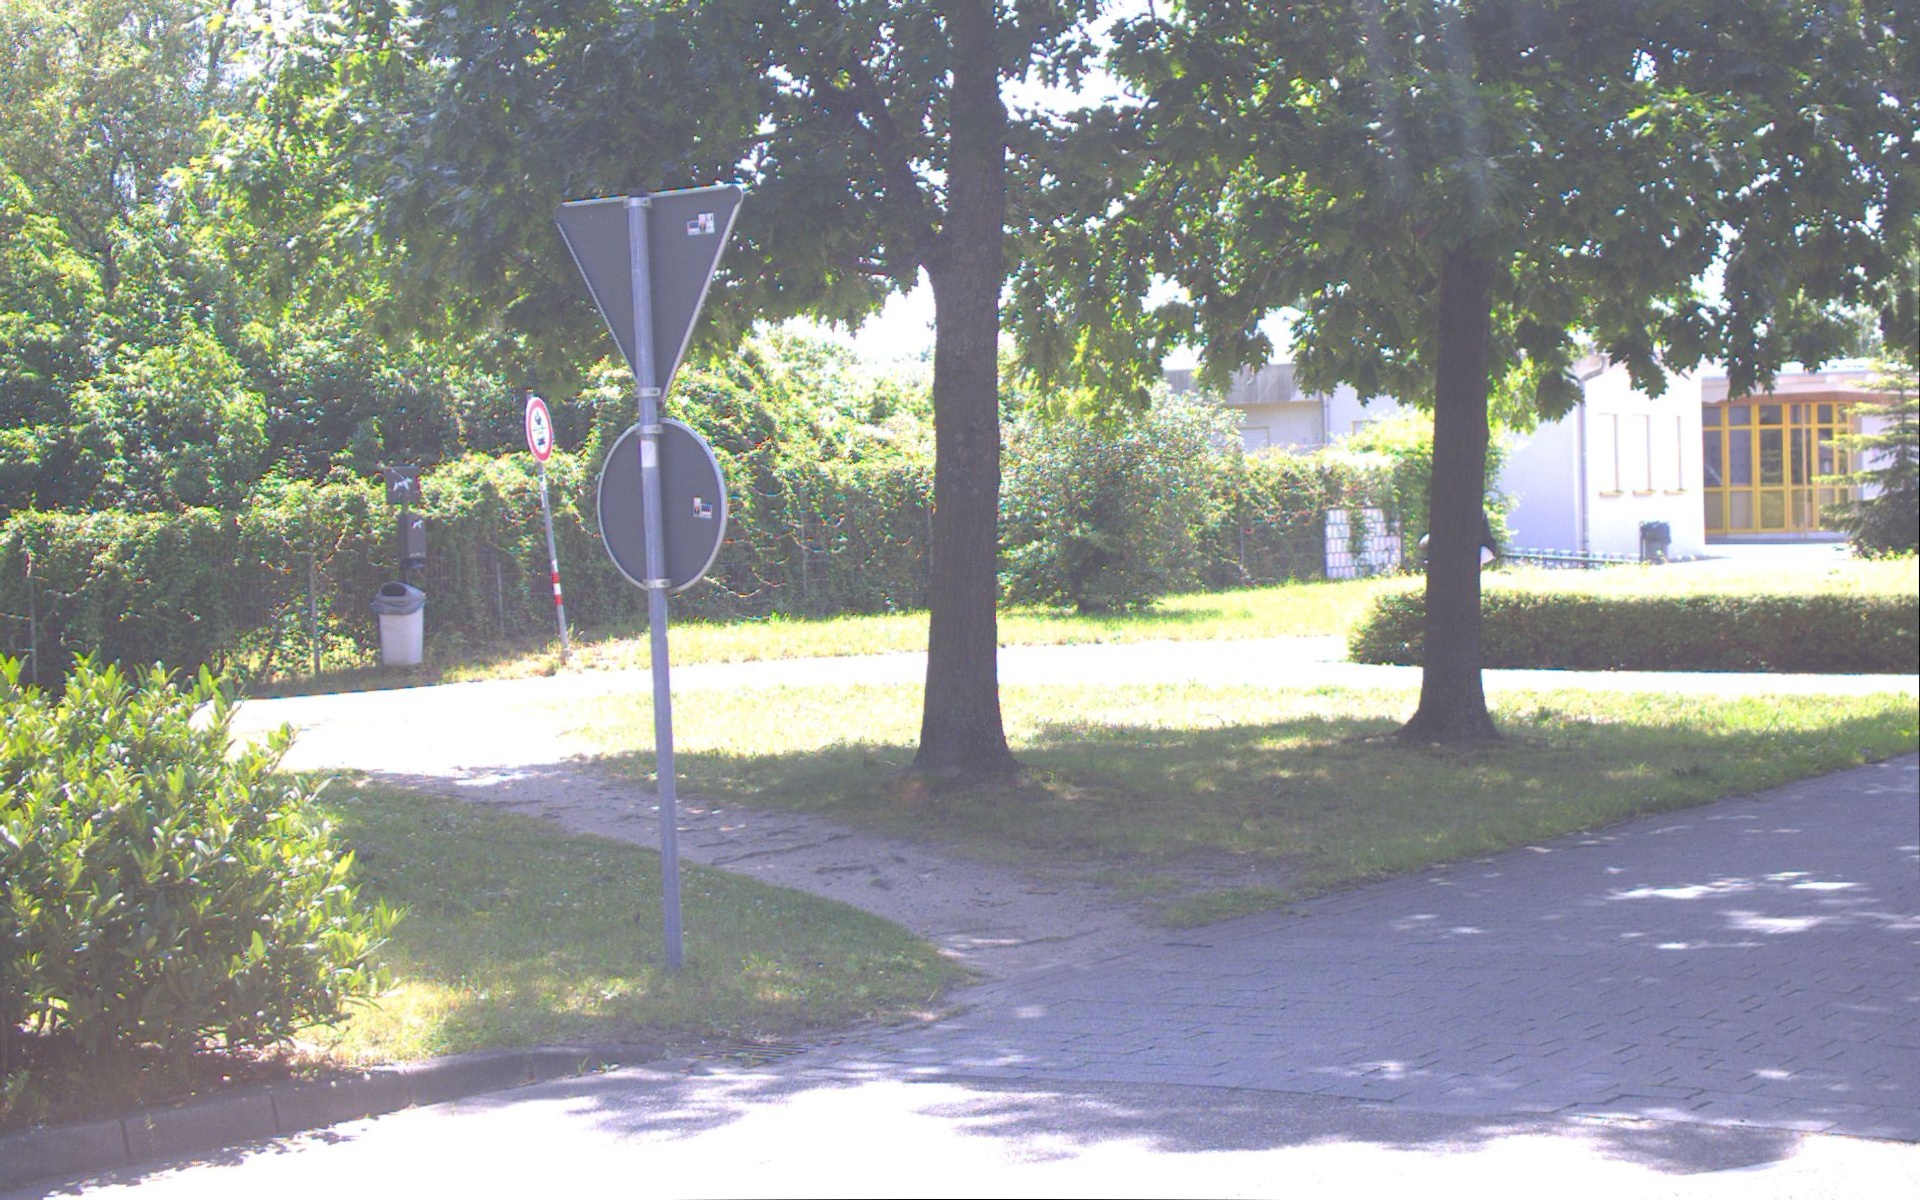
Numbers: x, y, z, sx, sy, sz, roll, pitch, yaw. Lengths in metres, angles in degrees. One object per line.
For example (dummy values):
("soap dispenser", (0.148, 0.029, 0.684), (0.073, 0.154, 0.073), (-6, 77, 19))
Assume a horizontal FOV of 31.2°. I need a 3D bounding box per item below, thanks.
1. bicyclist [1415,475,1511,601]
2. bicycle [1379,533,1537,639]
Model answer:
("bicyclist", (4.718, -0.579, 32.213), (0.598, 1.160, 0.647), (0, 2, 45))
("bicycle", (4.666, -0.137, 32.171), (0.598, 0.925, 1.616), (0, 2, 45))
